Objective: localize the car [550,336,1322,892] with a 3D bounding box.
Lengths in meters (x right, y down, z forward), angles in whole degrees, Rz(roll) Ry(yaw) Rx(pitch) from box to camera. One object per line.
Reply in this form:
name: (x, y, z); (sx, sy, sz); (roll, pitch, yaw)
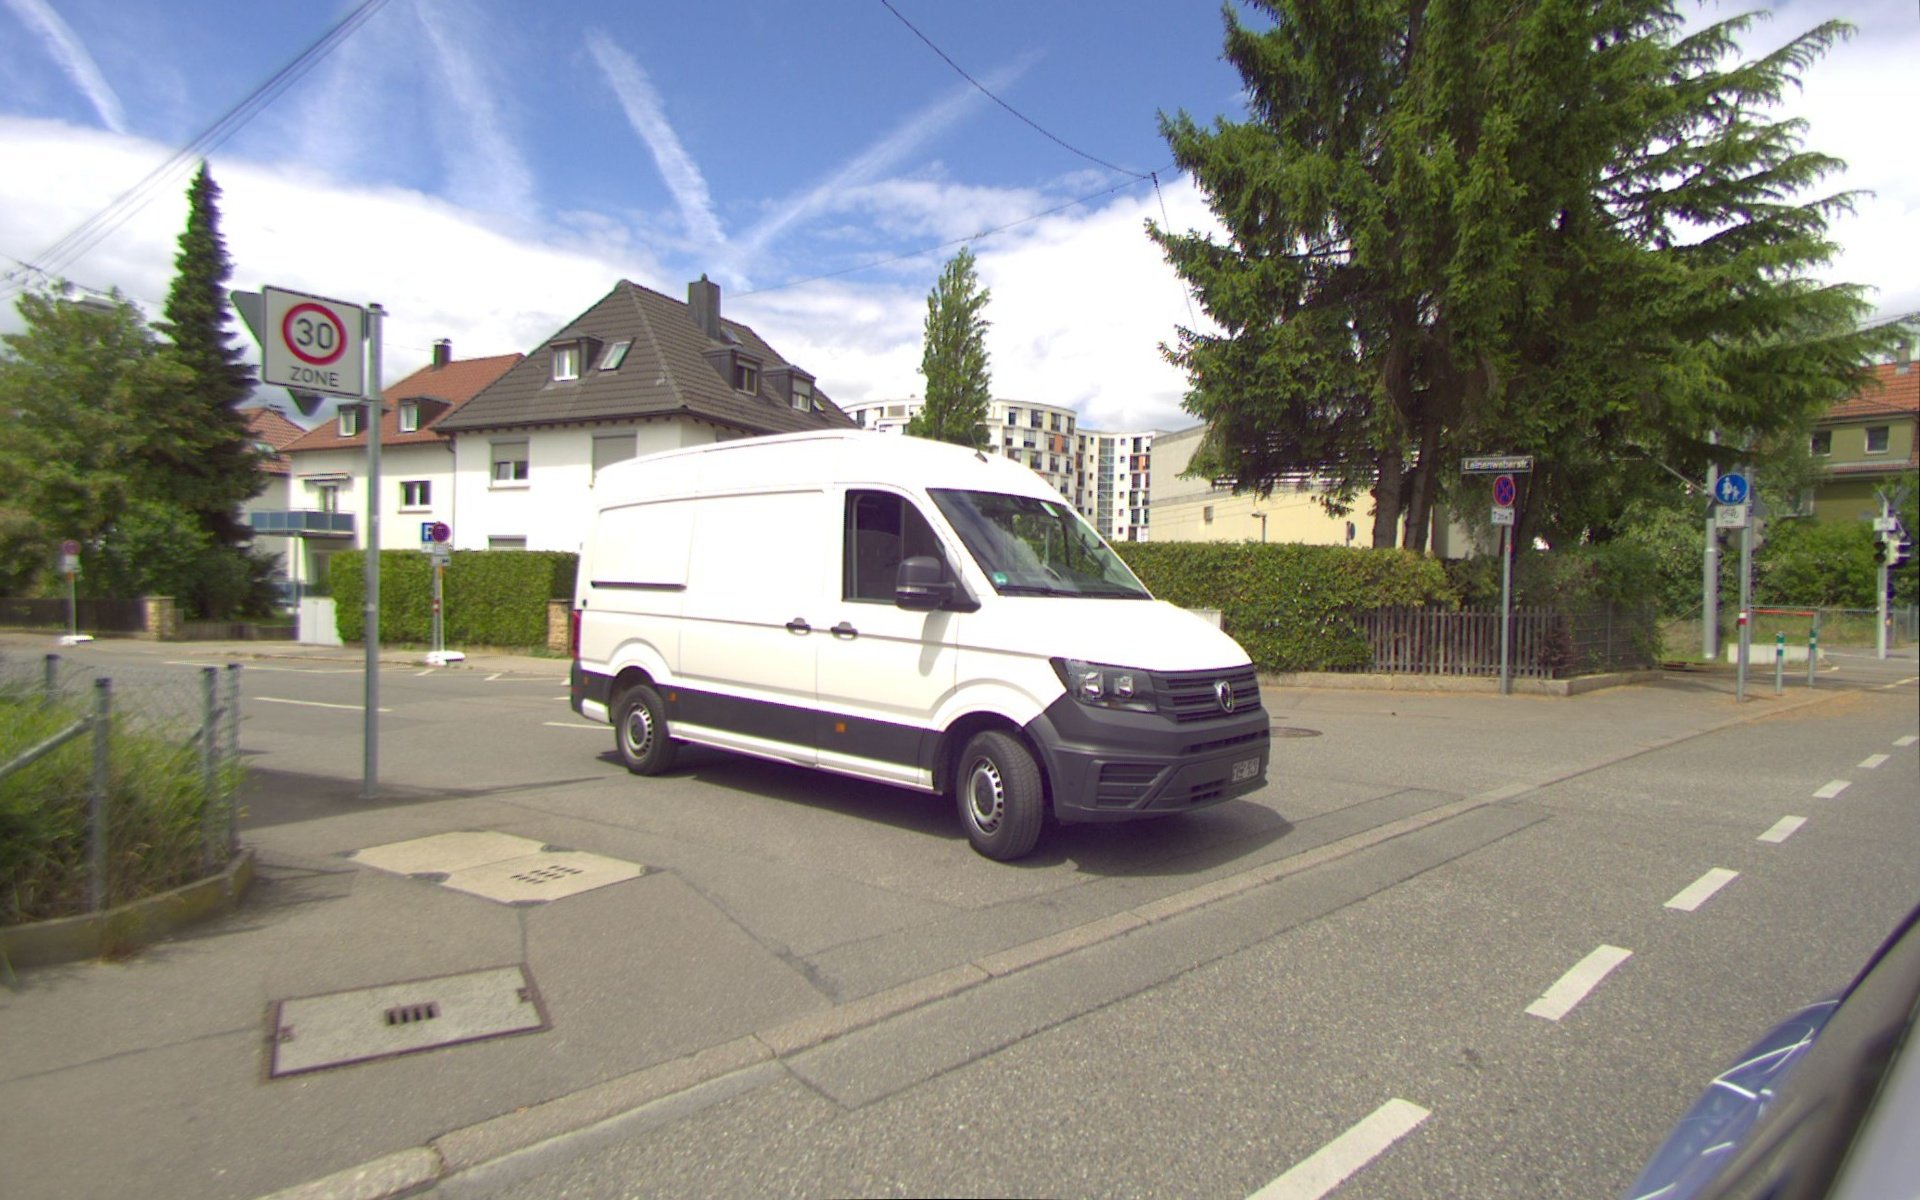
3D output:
car: (-0.654, 0.006, 7.505); (5.991, 2.614, 1.970); (1, 1, 42)
